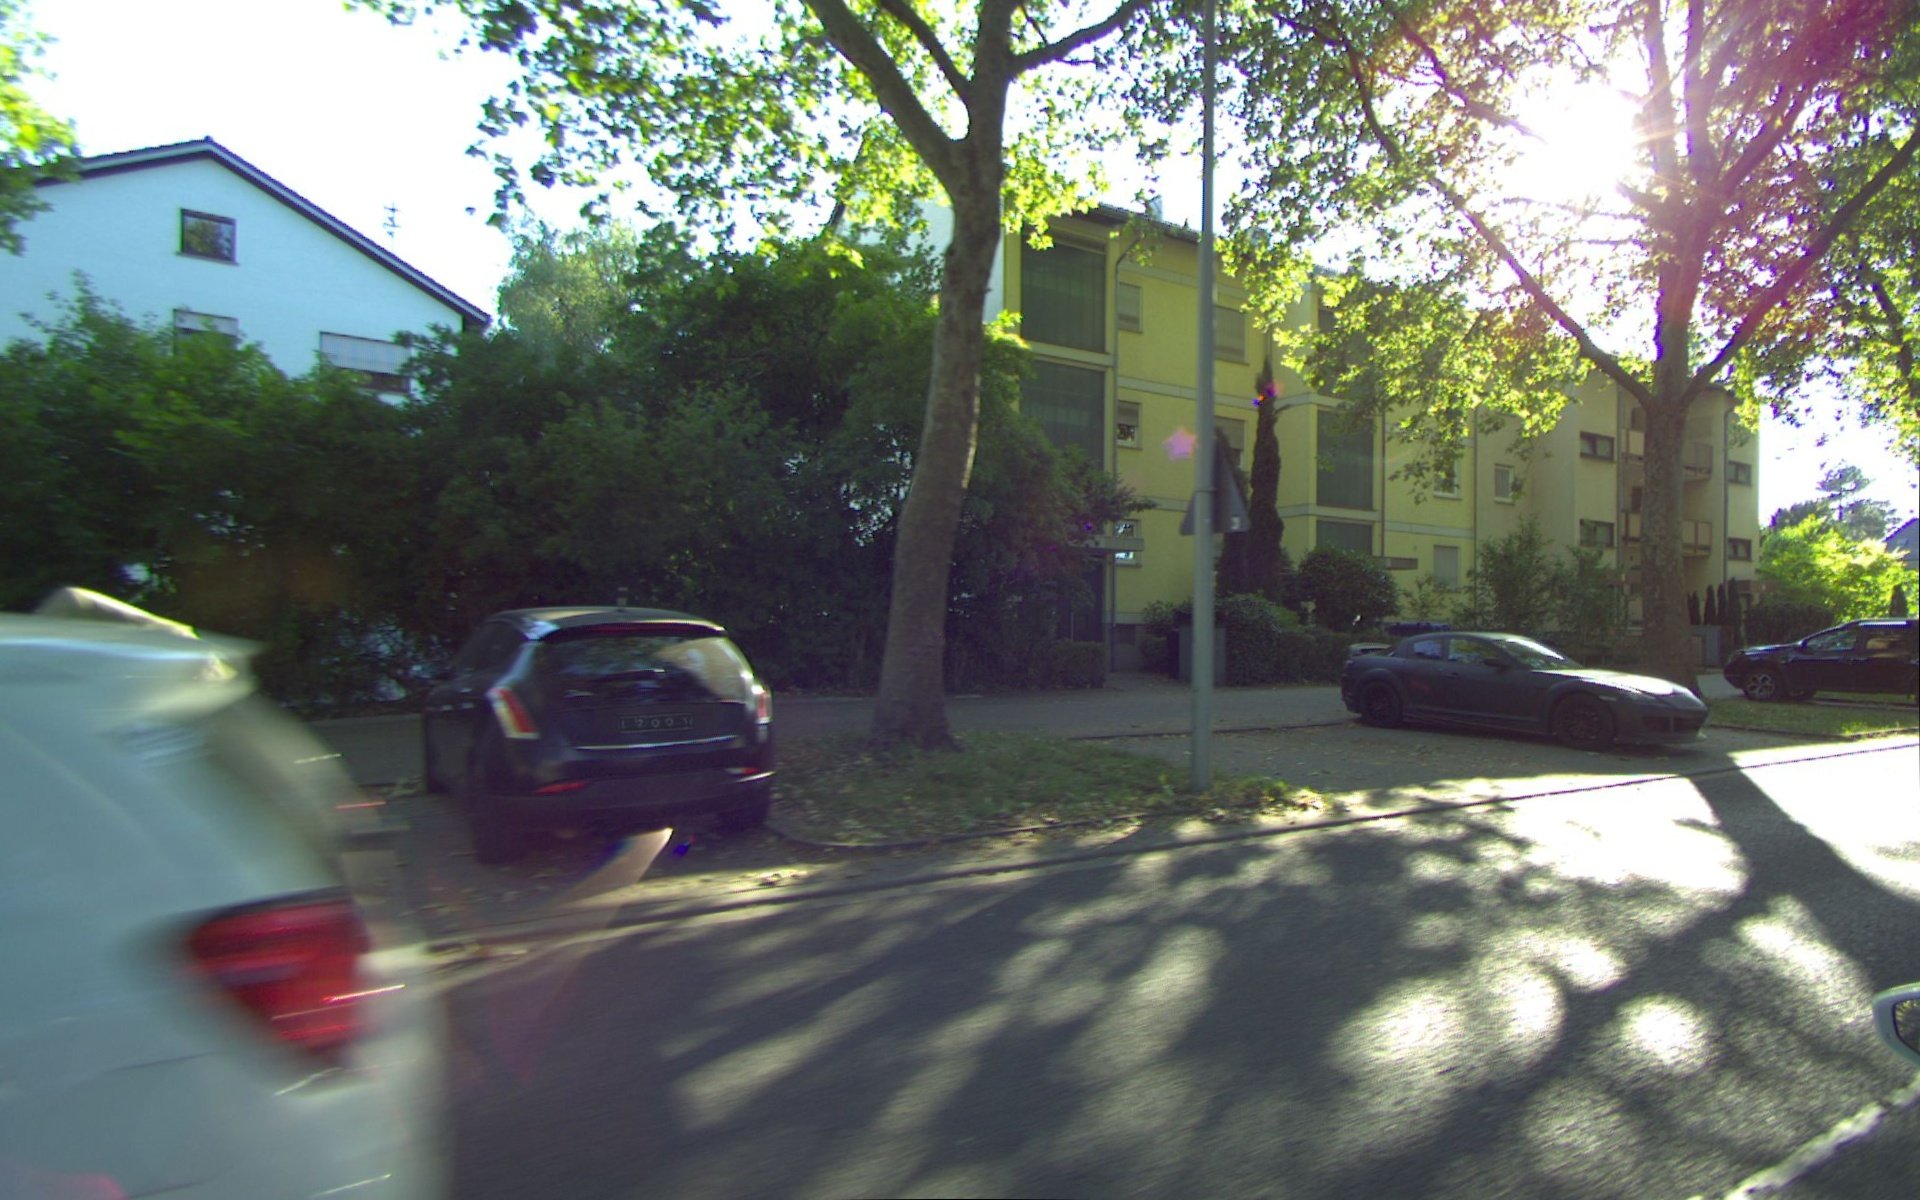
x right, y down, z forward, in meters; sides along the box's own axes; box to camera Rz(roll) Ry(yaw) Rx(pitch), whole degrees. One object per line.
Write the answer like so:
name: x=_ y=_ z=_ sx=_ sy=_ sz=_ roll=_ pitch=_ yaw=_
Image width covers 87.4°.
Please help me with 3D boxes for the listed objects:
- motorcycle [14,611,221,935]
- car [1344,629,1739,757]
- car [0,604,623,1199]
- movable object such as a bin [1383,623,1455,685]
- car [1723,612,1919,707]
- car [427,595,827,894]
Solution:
motorcycle: x=-4.529 y=0.771 z=5.541 sx=0.642 sy=1.407 sz=2.369 roll=1 pitch=-1 yaw=-35
car: x=7.384 y=1.085 z=13.220 sx=1.722 sy=1.370 sz=4.218 roll=1 pitch=-2 yaw=-31
car: x=-2.250 y=0.734 z=1.330 sx=3.150 sy=1.478 sz=1.527 roll=1 pitch=-1 yaw=-33
movable object such as a bin: x=10.516 y=1.215 z=23.014 sx=0.942 sy=1.368 sz=1.180 roll=2 pitch=-2 yaw=-30
car: x=17.500 y=1.095 z=19.321 sx=1.651 sy=1.702 sz=4.224 roll=1 pitch=-1 yaw=-30
car: x=-2.687 y=0.779 z=7.370 sx=1.783 sy=1.526 sz=4.135 roll=1 pitch=-1 yaw=-33
